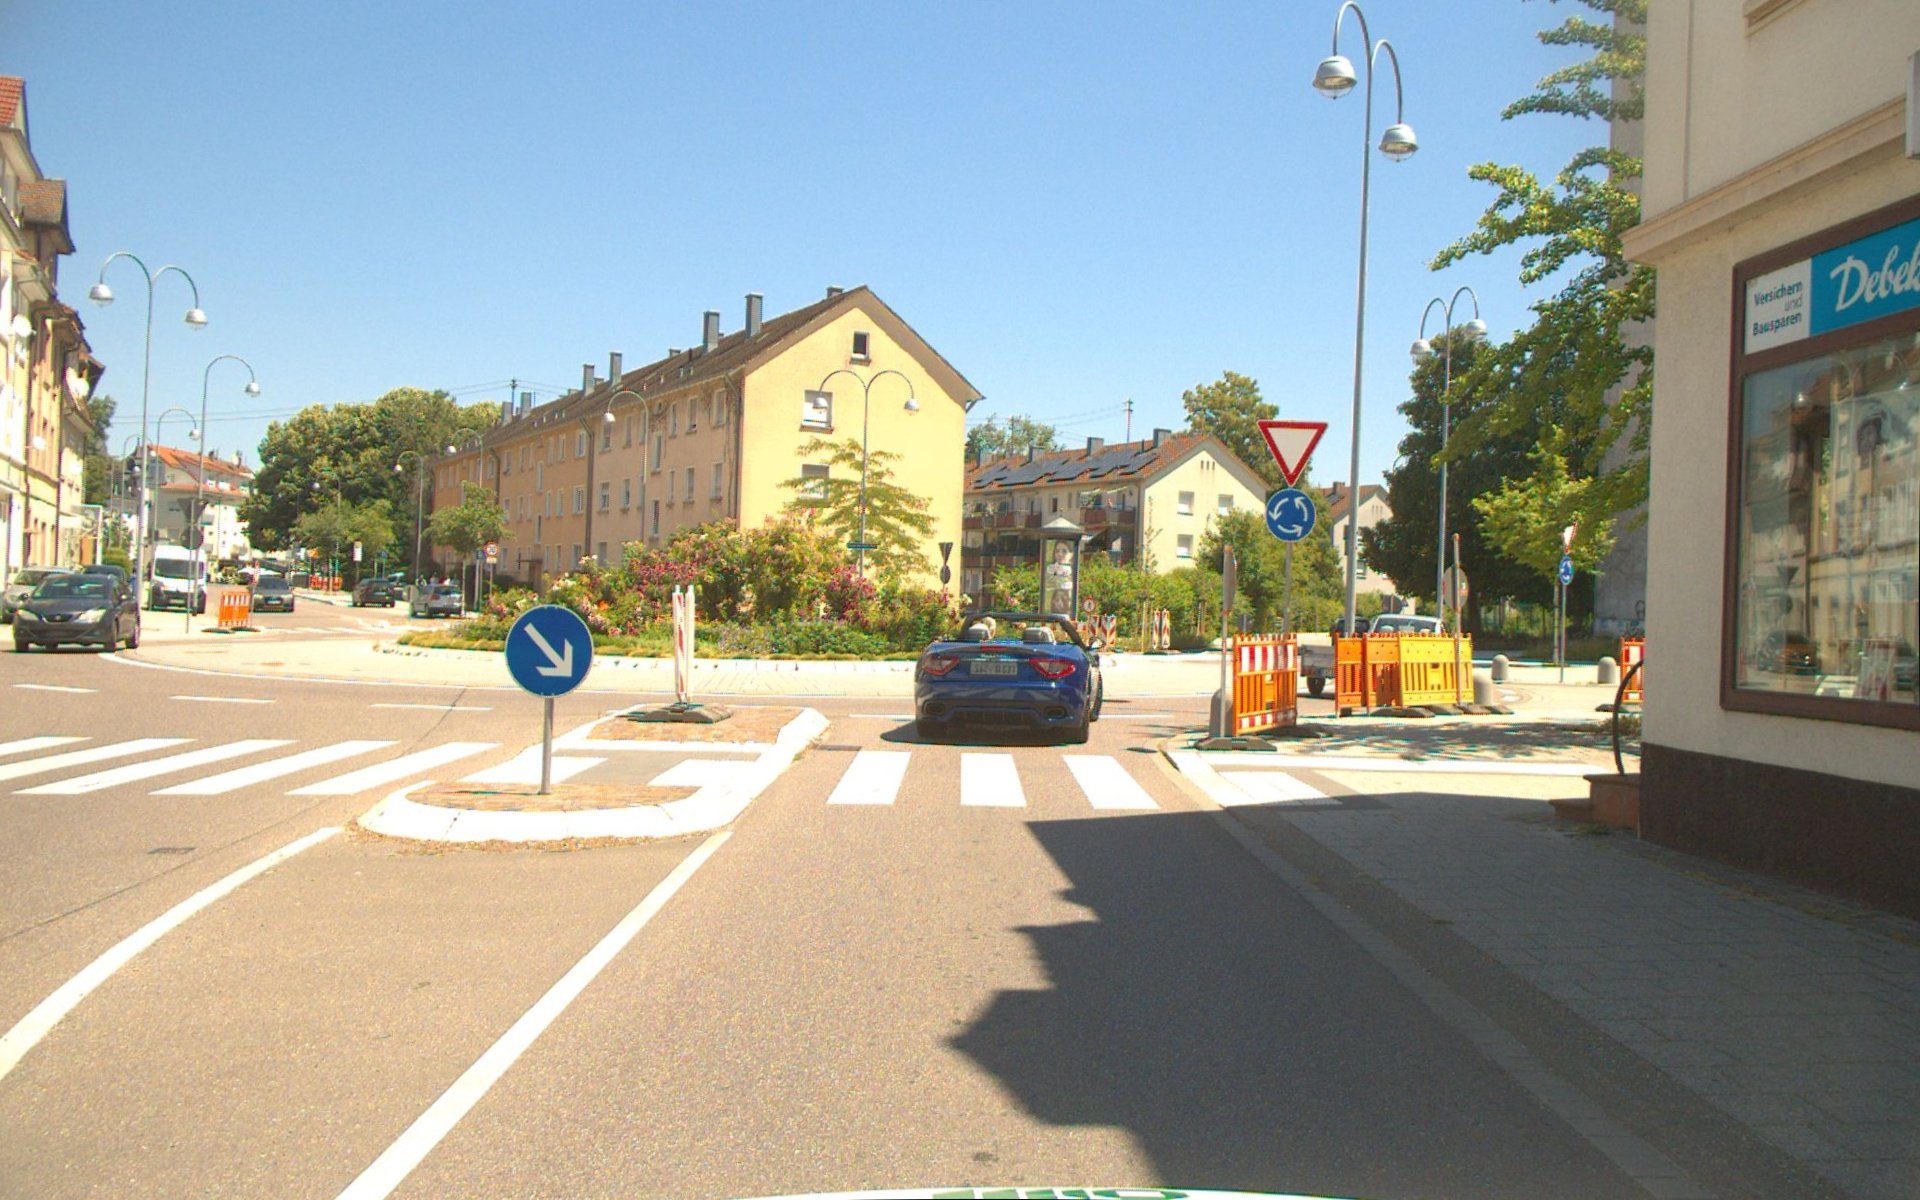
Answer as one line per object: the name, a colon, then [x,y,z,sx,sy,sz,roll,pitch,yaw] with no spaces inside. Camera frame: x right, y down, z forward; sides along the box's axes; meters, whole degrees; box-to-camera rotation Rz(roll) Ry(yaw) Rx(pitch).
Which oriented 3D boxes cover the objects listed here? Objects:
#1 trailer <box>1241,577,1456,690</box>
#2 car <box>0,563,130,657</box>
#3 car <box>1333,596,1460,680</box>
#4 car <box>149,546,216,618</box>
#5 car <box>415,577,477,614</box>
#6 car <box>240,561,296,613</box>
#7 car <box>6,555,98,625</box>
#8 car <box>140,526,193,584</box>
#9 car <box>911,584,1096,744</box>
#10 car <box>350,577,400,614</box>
trailer: [6.460,0.564,27.493,3.155,1.747,1.738,2,0,-32]
car: [-17.185,0.132,31.110,3.957,1.477,1.653,4,4,45]
car: [8.120,0.670,31.039,1.702,1.461,3.713,0,0,5]
car: [-30.859,-0.715,65.549,2.119,2.577,6.184,4,-1,-27]
car: [-23.295,-0.208,74.861,1.793,1.526,3.960,4,-1,-30]
car: [-29.423,-0.563,70.420,1.965,2.049,3.975,3,-1,-21]
car: [-24.198,-0.281,44.209,1.753,1.715,4.658,2,0,-24]
car: [-38.468,-2.148,80.126,2.119,2.577,4.813,4,-1,-27]
car: [0.537,0.692,19.021,1.832,1.557,4.507,2,-1,2]
car: [-31.516,-0.265,89.052,1.793,1.825,3.960,4,-1,-30]
